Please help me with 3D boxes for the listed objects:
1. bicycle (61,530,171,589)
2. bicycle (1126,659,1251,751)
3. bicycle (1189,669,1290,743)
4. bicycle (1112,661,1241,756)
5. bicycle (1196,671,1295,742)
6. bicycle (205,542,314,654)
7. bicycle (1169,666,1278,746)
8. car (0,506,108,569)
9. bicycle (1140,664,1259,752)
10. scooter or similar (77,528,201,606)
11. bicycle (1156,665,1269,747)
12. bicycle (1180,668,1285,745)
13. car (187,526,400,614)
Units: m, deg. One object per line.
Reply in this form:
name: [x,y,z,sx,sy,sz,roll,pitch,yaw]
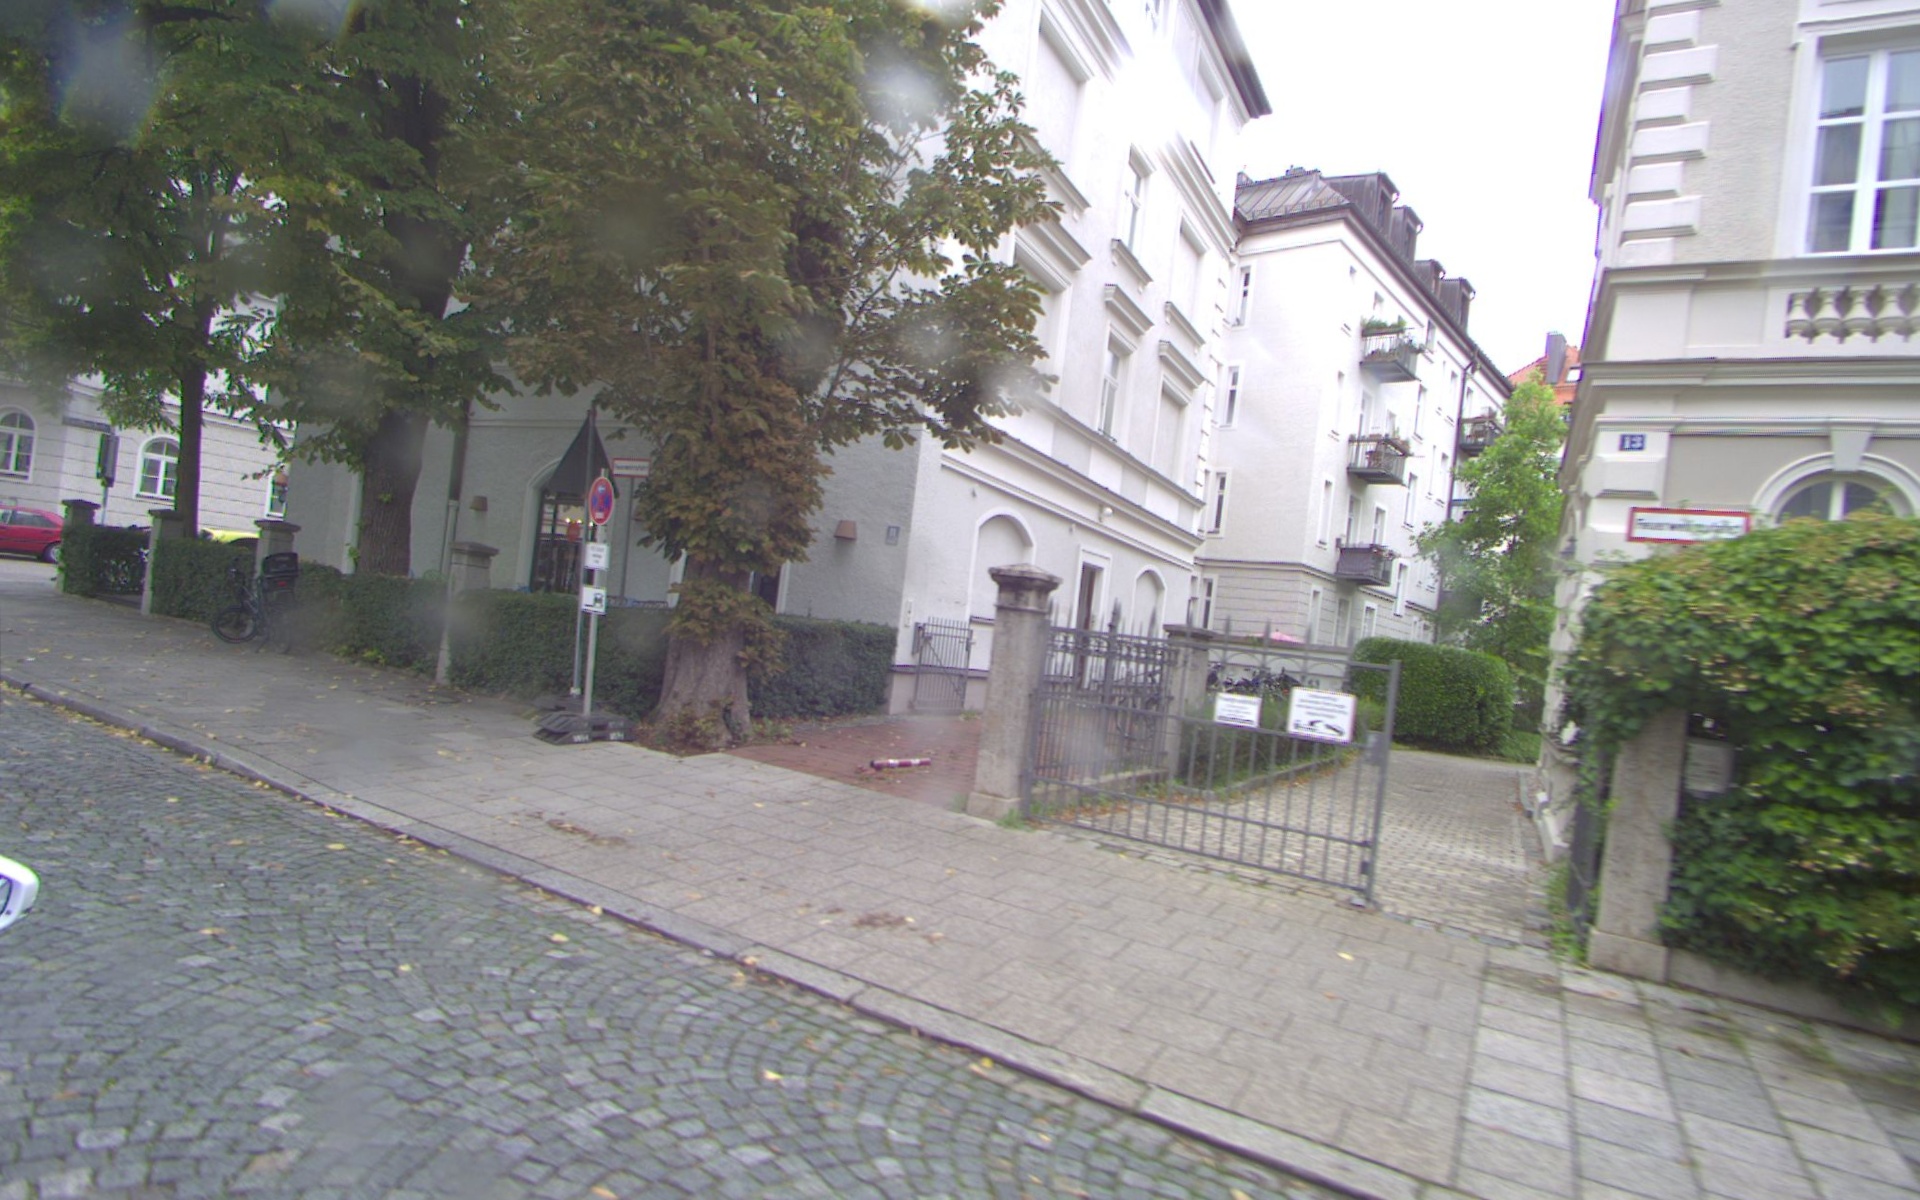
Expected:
bicycle: [-17.816,-0.840,21.275,0.727,1.082,1.602,2,-2,33]
bicycle: [3.393,1.543,14.962,1.644,1.114,0.421,6,-1,26]
bicycle: [5.138,1.938,18.514,1.644,1.114,0.421,6,-1,26]
bicycle: [3.084,1.533,14.369,1.644,1.114,0.421,6,-1,26]
bicycle: [5.416,2.007,19.121,1.644,1.114,0.421,6,-1,26]
bicycle: [-8.652,-0.045,12.405,1.702,1.215,0.427,6,4,31]
bicycle: [4.488,1.792,17.154,1.644,1.114,0.421,6,-1,26]
car: [-25.438,-1.818,26.322,1.734,1.374,4.468,7,-2,37]
bicycle: [3.715,1.663,15.670,1.644,1.114,0.421,6,-1,26]
scooter or similar: [-14.582,-0.576,17.915,1.594,1.186,0.401,7,-1,-37]
bicycle: [4.147,1.725,16.538,1.644,1.114,0.421,6,-1,26]
bicycle: [4.821,1.875,17.824,1.644,1.114,0.421,6,-1,26]
car: [-16.907,-0.725,25.669,1.879,1.615,4.071,6,-3,41]
